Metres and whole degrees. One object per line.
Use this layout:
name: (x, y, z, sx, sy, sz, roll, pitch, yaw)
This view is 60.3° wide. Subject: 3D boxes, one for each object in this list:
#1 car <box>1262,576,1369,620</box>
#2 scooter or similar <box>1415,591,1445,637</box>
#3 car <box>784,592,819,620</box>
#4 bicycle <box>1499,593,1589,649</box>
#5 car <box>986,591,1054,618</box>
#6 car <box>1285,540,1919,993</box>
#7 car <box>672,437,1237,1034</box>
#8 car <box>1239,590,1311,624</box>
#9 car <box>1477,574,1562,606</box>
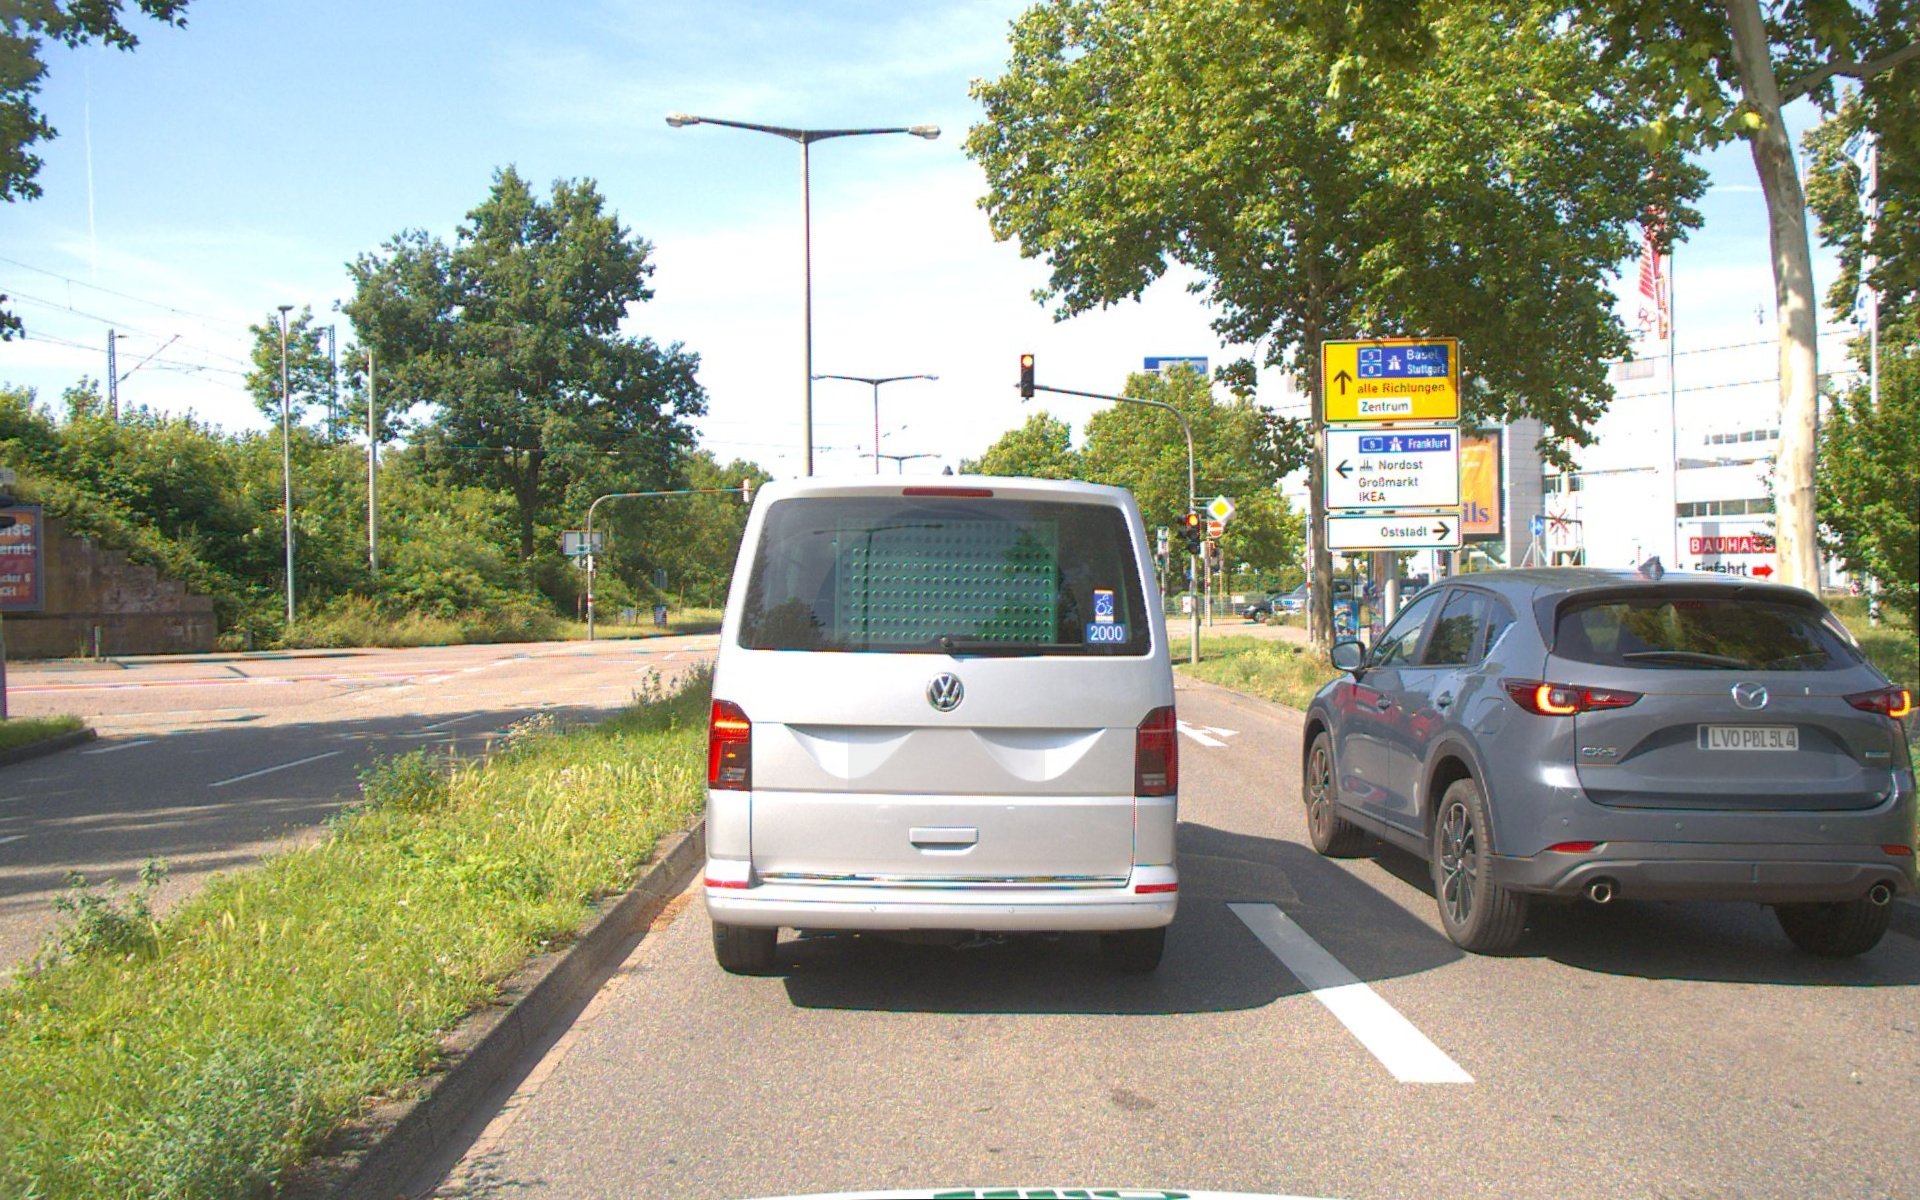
car: (14.864, -0.106, 69.032, 4.578, 1.718, 1.890, -1, 0, -38)
scooter or similar: (12.087, 0.355, 42.565, 0.416, 1.146, 1.123, -1, 0, -2)
car: (-9.209, 0.338, 96.362, 1.813, 1.588, 3.998, -1, 0, -3)
bicycle: (12.499, 0.455, 35.440, 1.748, 1.127, 0.504, -3, -1, 18)
car: (3.382, 0.259, 94.333, 1.756, 1.469, 4.582, -1, 0, -29)
car: (3.035, 0.626, 8.468, 1.730, 1.688, 4.495, 1, 0, -2)
car: (-0.052, 0.450, 8.120, 1.902, 2.006, 5.021, 0, 0, -1)
car: (15.827, 0.354, 83.232, 3.518, 1.593, 2.002, 1, 0, 10)
car: (27.890, -0.500, 82.403, 4.578, 1.469, 1.758, -1, 0, -38)
